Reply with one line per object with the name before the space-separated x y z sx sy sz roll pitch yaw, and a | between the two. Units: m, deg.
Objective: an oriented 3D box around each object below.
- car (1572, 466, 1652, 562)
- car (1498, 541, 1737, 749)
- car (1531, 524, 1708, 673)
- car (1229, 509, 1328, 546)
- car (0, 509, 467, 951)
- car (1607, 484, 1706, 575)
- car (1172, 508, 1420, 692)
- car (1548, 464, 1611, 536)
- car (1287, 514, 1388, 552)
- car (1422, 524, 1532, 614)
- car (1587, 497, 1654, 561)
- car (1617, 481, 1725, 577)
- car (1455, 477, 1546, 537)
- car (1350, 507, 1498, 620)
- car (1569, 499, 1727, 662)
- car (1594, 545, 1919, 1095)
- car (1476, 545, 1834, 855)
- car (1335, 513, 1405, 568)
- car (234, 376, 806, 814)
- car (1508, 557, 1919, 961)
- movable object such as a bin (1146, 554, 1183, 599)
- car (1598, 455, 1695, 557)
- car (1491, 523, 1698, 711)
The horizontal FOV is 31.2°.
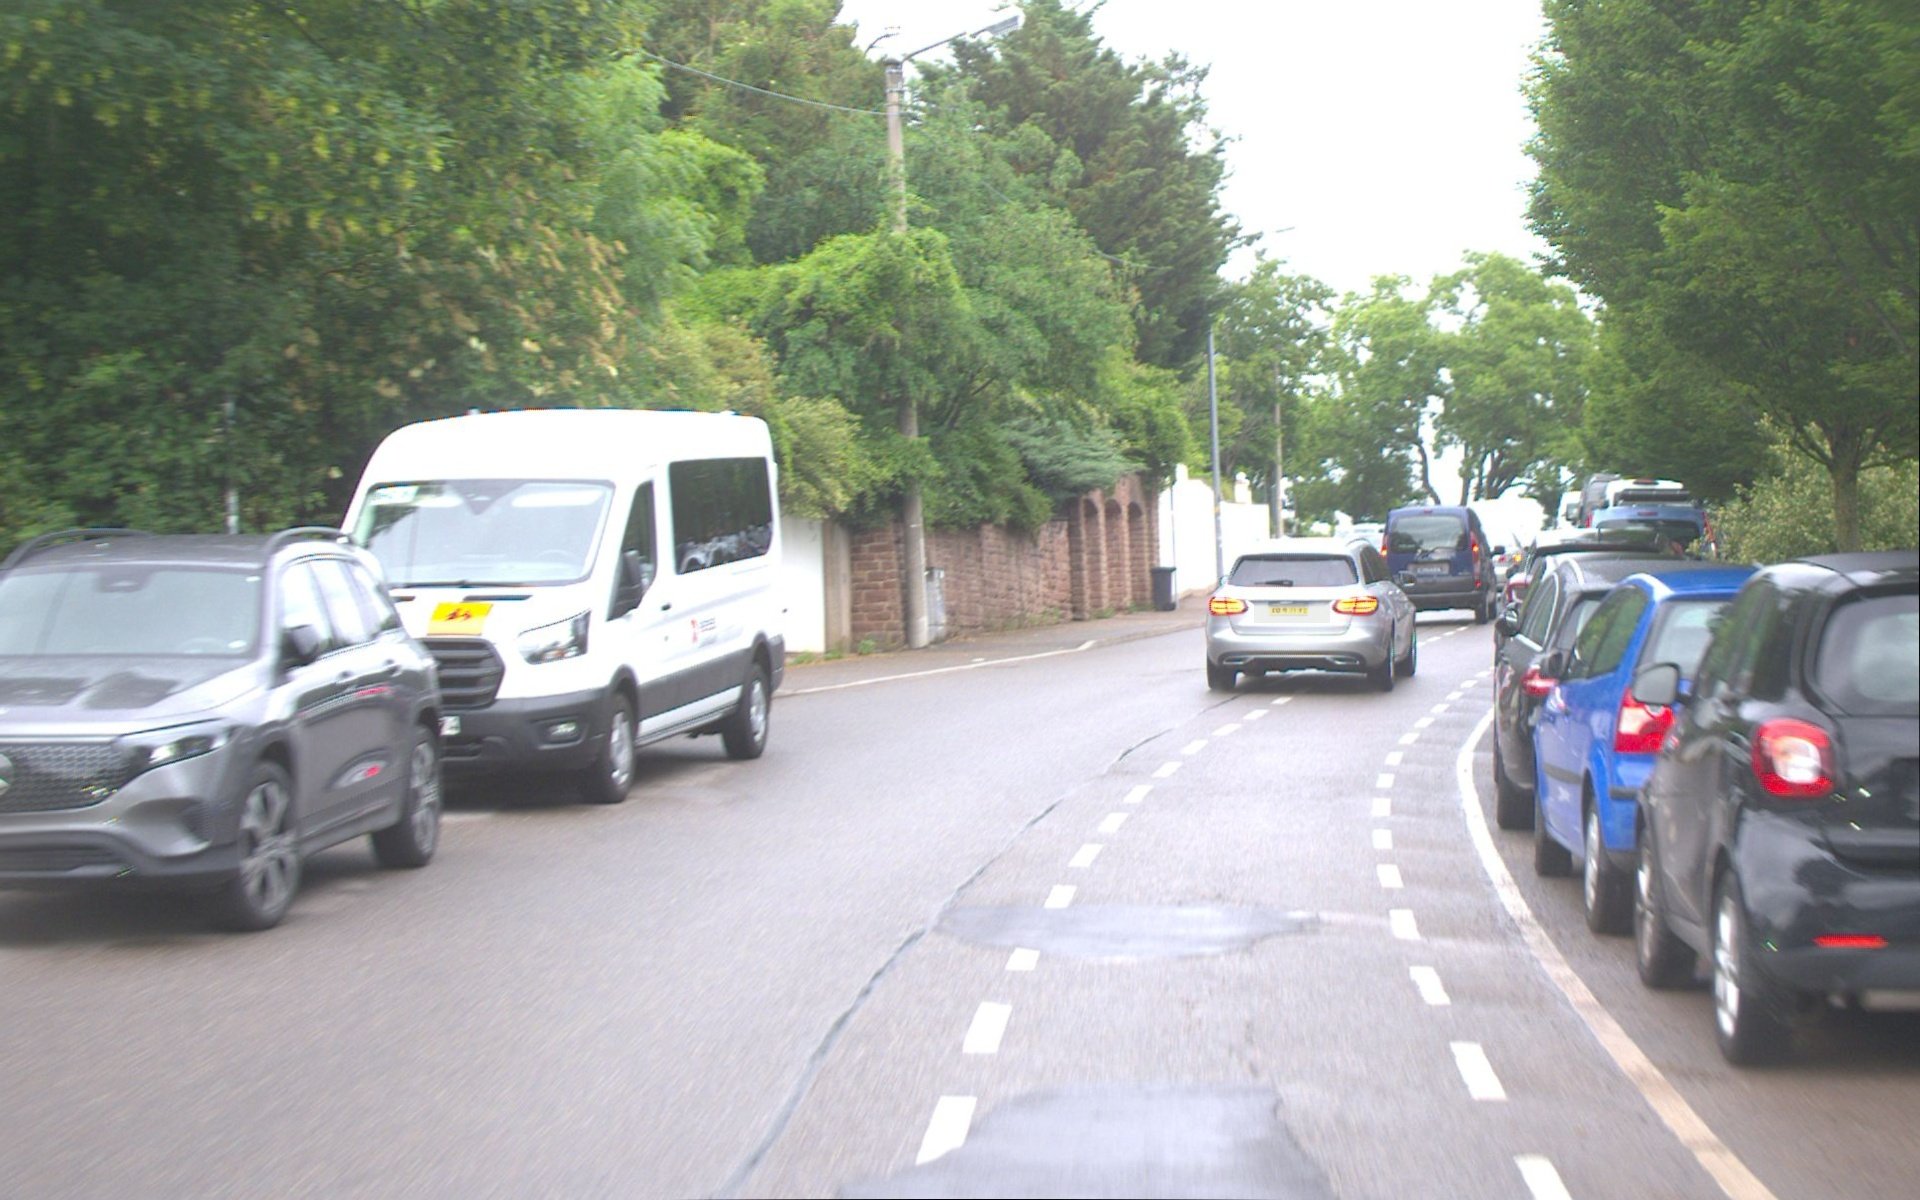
car | 20.223 -2.698 106.788 2.125 2.877 5.768 1 2 8
car | 5.025 0.280 26.548 1.643 1.419 4.286 1 1 10
car | 7.107 -0.060 36.792 1.650 1.476 4.017 0 2 14
car | 14.891 -3.409 160.991 1.964 1.692 4.669 -1 2 -37
car | -3.660 0.473 15.534 1.896 1.685 4.545 -1 1 4
car | 16.234 -1.664 80.333 1.994 2.045 5.120 0 1 9
car | 3.404 -0.021 34.126 2.026 1.702 4.213 0 1 11
car | 22.025 -3.559 122.349 2.065 2.486 4.758 1 2 9
car | 17.308 -3.092 157.746 1.965 1.692 4.495 -1 2 -40
car | 10.134 -0.611 67.221 1.994 1.702 3.998 0 1 11
car | 19.303 -2.096 100.647 1.728 1.779 4.274 2 2 9
car | 13.875 -1.406 67.278 1.781 1.777 4.678 -1 2 9
car | 22.884 -3.950 145.697 2.125 2.518 4.498 0 2 -16
car | 7.229 -0.570 53.901 1.994 1.702 4.000 0 1 3
car | 8.361 -0.292 41.617 1.779 1.845 4.422 0 2 12
car | 3.073 0.601 11.227 1.627 1.557 3.022 0 1 4
car | 3.946 0.475 20.161 1.776 1.547 4.727 1 1 8
car | 11.325 -1.660 94.764 1.749 1.353 4.424 -3 1 8
car | -2.734 -0.108 23.224 2.095 2.541 6.095 -1 2 10
car | 3.422 0.589 15.222 1.654 1.514 4.000 1 1 5
movable object such as a bin | 4.276 -0.495 71.749 0.658 0.916 0.677 -1 1 12
car | 17.479 -2.401 87.796 2.174 2.484 6.032 1 2 9
car | 5.870 0.096 31.565 1.715 1.550 4.162 1 2 12
